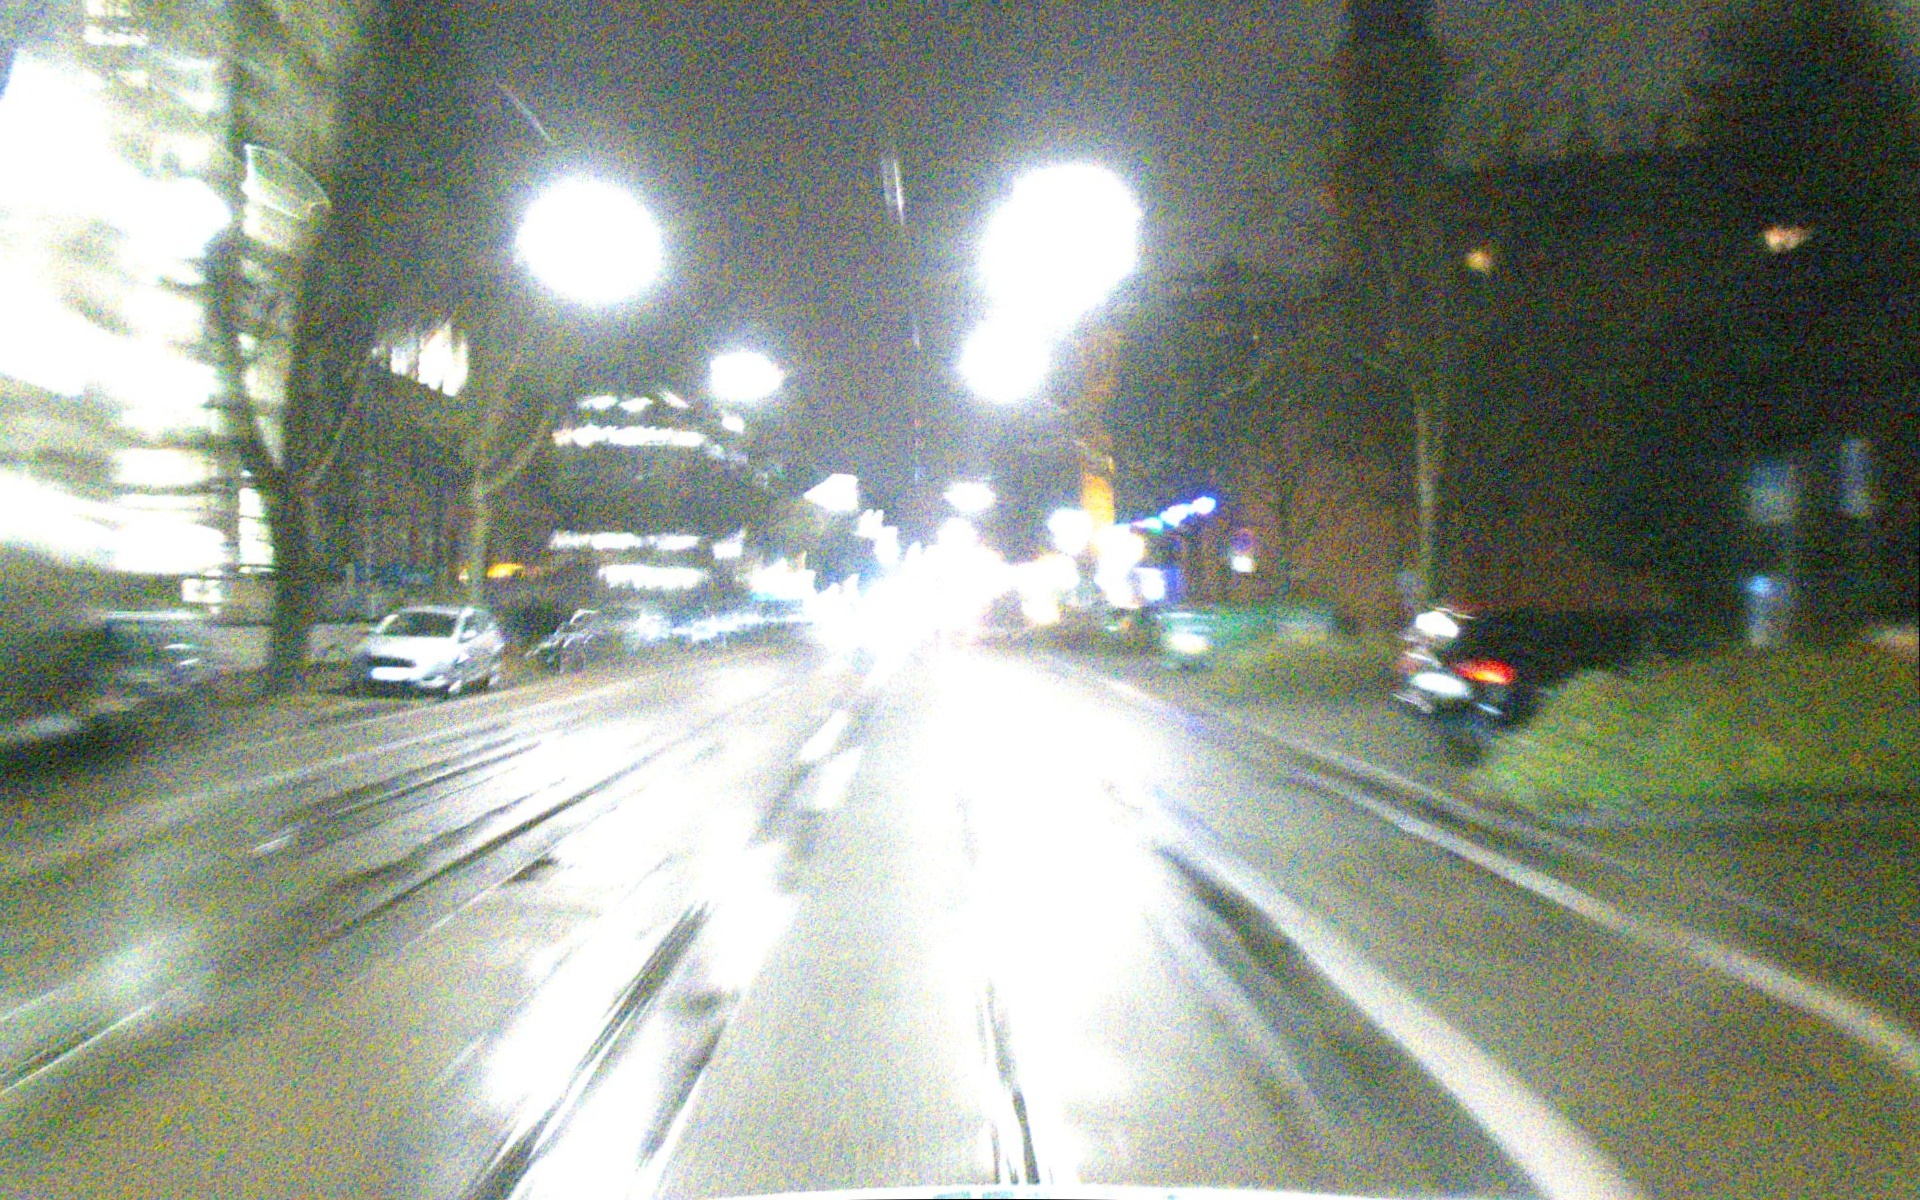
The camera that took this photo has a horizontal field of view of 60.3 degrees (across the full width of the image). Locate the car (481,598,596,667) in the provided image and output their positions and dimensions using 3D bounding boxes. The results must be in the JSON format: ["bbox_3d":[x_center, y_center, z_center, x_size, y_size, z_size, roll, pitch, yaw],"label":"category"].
[{"bbox_3d":[-9.570,0.692,37.840,1.804,1.448,4.206,-1,0,-4],"label":"car"}]

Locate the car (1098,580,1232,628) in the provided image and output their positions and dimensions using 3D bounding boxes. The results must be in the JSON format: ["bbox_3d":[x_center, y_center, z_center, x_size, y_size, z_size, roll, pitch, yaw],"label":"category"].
[{"bbox_3d":[6.816,0.120,54.996,4.043,1.564,1.944,0,0,-27],"label":"car"}]

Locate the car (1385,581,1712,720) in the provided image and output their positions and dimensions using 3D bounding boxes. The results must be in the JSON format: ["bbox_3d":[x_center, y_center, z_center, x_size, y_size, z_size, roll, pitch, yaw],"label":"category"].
[{"bbox_3d":[7.355,0.579,20.701,3.638,1.544,1.649,-2,1,-20],"label":"car"}]

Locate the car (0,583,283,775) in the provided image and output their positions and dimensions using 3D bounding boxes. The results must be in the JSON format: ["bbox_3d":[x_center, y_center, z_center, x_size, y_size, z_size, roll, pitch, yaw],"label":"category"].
[{"bbox_3d":[-8.972,0.695,17.075,2.100,1.648,4.588,2,0,-1],"label":"car"}]

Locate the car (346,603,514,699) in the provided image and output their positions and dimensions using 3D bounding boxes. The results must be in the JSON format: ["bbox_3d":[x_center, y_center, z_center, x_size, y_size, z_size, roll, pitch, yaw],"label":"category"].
[{"bbox_3d":[-9.076,0.813,28.680,1.738,1.465,4.604,-1,0,-5],"label":"car"}]

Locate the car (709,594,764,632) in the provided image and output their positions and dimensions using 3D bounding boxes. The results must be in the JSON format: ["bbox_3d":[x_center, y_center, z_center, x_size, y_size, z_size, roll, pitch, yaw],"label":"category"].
[{"bbox_3d":[-10.050,0.562,74.615,1.943,1.659,4.516,0,0,-1],"label":"car"}]

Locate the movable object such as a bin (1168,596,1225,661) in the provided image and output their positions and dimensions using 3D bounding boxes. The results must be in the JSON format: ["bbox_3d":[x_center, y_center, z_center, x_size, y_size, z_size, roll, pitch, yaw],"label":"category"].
[{"bbox_3d":[5.449,0.643,38.181,1.183,1.447,1.101,-2,0,4],"label":"movable object such as a bin"}]

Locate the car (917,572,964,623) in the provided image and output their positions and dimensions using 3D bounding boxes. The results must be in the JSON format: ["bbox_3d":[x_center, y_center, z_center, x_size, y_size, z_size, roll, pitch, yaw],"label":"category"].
[{"bbox_3d":[-0.968,-0.130,81.348,2.199,2.402,4.392,0,0,-2],"label":"car"}]

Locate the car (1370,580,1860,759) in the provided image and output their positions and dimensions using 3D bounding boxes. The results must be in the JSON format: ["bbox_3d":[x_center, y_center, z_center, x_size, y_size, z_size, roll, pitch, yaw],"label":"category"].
[{"bbox_3d":[6.545,0.611,16.541,4.519,1.501,1.828,-2,1,-21],"label":"car"}]

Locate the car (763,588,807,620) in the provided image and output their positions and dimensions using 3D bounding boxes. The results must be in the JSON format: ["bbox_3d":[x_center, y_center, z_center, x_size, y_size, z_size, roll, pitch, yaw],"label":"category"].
[{"bbox_3d":[-9.795,0.205,92.814,1.929,1.684,4.601,2,0,0],"label":"car"}]

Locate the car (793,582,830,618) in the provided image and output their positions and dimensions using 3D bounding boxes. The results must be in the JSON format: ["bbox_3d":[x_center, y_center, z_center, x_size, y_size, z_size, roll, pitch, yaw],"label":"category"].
[{"bbox_3d":[-11.114,-0.045,124.181,2.140,2.637,6.393,0,1,1],"label":"car"}]

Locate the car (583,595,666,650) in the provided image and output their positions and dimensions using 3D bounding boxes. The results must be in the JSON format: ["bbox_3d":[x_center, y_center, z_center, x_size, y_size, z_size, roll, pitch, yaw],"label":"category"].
[{"bbox_3d":[-9.812,0.624,48.681,1.851,1.488,4.954,-1,0,-5],"label":"car"}]

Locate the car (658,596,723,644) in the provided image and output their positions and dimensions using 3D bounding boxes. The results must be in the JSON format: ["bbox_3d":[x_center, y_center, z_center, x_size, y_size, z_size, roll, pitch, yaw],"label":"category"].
[{"bbox_3d":[-9.843,0.700,60.698,1.843,1.572,4.396,3,0,-4],"label":"car"}]

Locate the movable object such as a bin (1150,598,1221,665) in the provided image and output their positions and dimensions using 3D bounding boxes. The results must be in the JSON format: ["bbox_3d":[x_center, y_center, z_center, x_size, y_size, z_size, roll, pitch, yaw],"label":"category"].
[{"bbox_3d":[5.017,0.688,36.908,1.296,1.433,1.158,-2,0,-7],"label":"movable object such as a bin"}]
